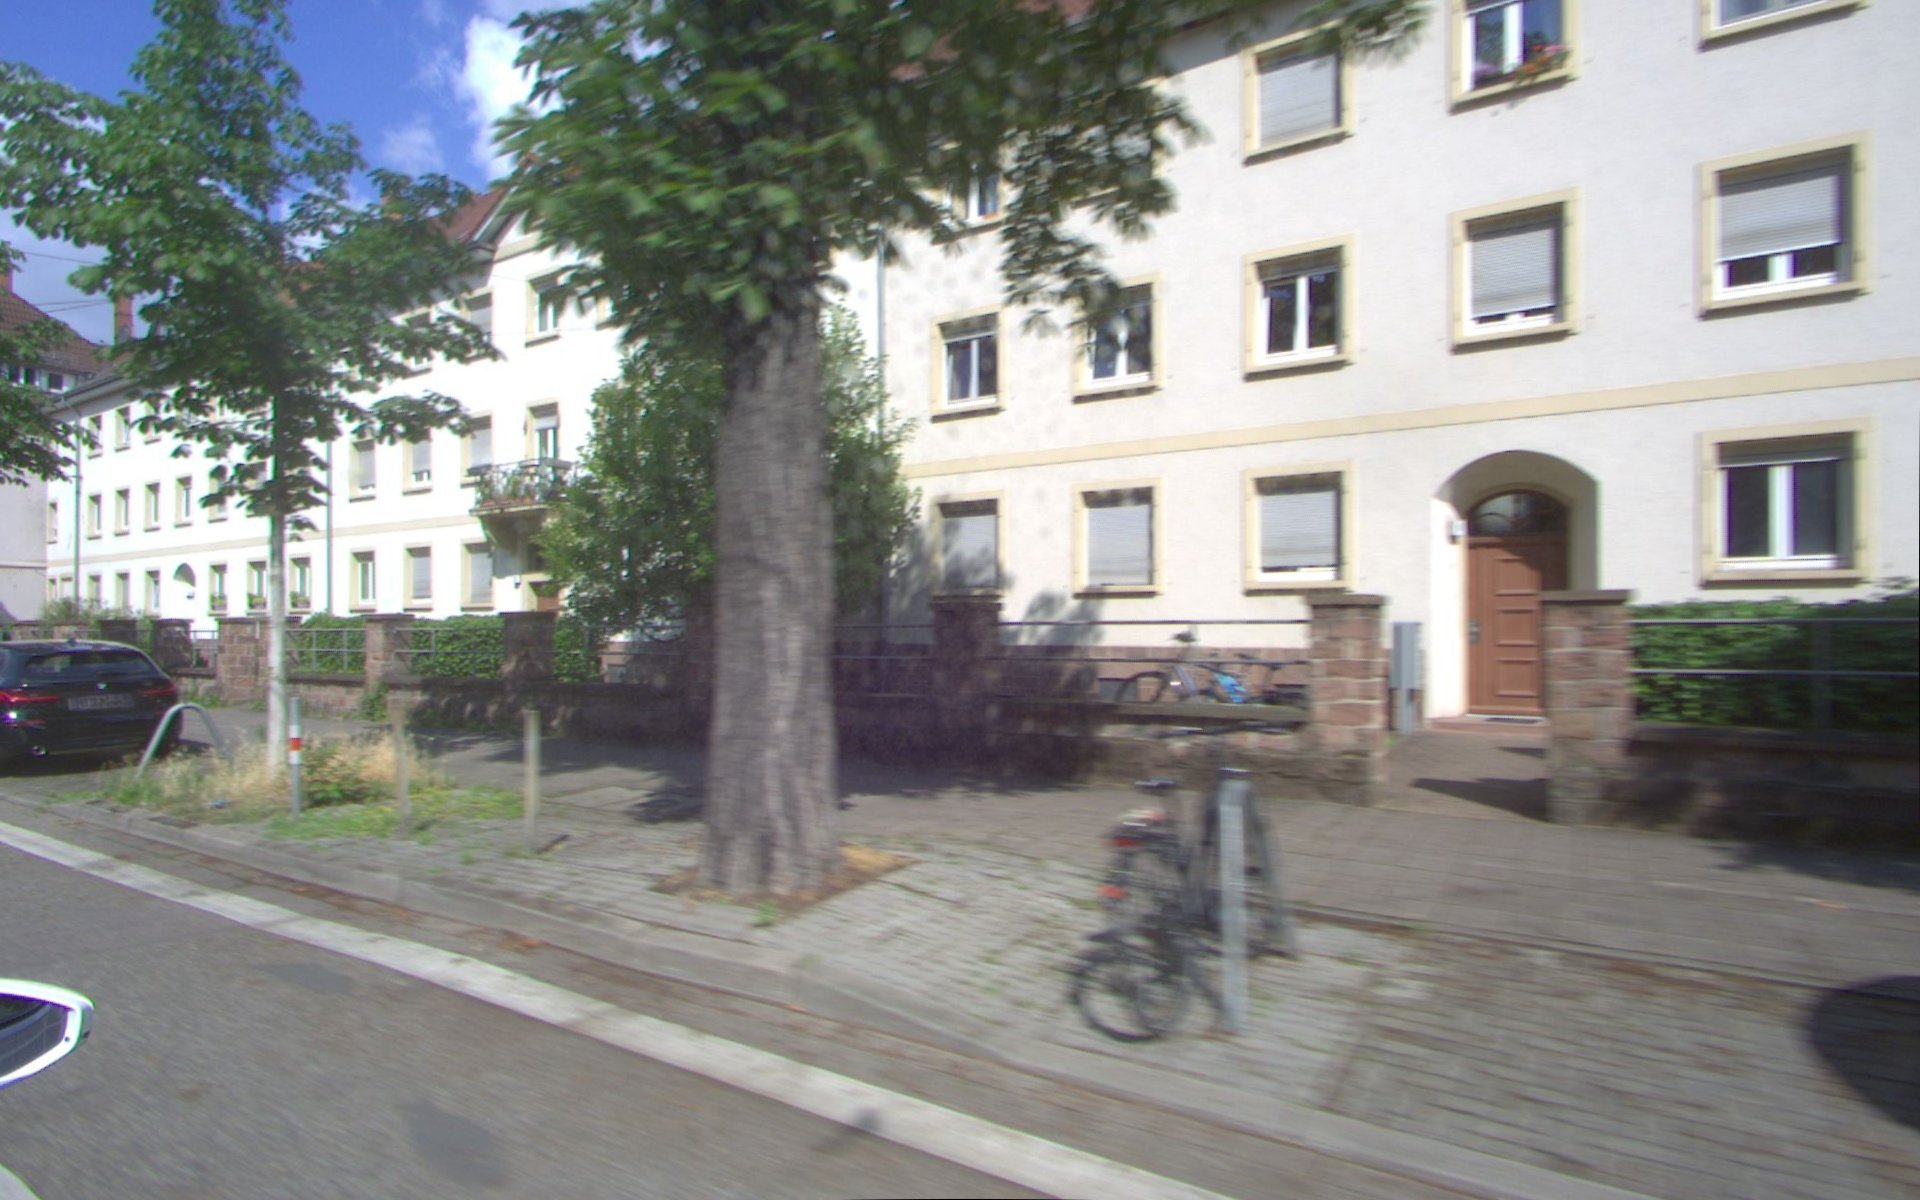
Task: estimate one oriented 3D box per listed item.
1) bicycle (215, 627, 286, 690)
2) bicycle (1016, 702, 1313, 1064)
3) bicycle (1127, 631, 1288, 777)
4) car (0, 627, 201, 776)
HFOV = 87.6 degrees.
[{"bbox_3d":[-14.306,1.159,20.181,1.680,1.227,0.598,-1,-1,33],"label":"bicycle"},{"bbox_3d":[0.921,1.000,4.107,0.629,1.020,1.705,0,-1,33],"label":"bicycle"},{"bbox_3d":[2.248,0.913,9.205,1.440,1.260,0.303,-1,-1,38],"label":"bicycle"},{"bbox_3d":[-10.955,1.116,11.905,4.137,1.497,1.704,-1,-4,33],"label":"car"}]
